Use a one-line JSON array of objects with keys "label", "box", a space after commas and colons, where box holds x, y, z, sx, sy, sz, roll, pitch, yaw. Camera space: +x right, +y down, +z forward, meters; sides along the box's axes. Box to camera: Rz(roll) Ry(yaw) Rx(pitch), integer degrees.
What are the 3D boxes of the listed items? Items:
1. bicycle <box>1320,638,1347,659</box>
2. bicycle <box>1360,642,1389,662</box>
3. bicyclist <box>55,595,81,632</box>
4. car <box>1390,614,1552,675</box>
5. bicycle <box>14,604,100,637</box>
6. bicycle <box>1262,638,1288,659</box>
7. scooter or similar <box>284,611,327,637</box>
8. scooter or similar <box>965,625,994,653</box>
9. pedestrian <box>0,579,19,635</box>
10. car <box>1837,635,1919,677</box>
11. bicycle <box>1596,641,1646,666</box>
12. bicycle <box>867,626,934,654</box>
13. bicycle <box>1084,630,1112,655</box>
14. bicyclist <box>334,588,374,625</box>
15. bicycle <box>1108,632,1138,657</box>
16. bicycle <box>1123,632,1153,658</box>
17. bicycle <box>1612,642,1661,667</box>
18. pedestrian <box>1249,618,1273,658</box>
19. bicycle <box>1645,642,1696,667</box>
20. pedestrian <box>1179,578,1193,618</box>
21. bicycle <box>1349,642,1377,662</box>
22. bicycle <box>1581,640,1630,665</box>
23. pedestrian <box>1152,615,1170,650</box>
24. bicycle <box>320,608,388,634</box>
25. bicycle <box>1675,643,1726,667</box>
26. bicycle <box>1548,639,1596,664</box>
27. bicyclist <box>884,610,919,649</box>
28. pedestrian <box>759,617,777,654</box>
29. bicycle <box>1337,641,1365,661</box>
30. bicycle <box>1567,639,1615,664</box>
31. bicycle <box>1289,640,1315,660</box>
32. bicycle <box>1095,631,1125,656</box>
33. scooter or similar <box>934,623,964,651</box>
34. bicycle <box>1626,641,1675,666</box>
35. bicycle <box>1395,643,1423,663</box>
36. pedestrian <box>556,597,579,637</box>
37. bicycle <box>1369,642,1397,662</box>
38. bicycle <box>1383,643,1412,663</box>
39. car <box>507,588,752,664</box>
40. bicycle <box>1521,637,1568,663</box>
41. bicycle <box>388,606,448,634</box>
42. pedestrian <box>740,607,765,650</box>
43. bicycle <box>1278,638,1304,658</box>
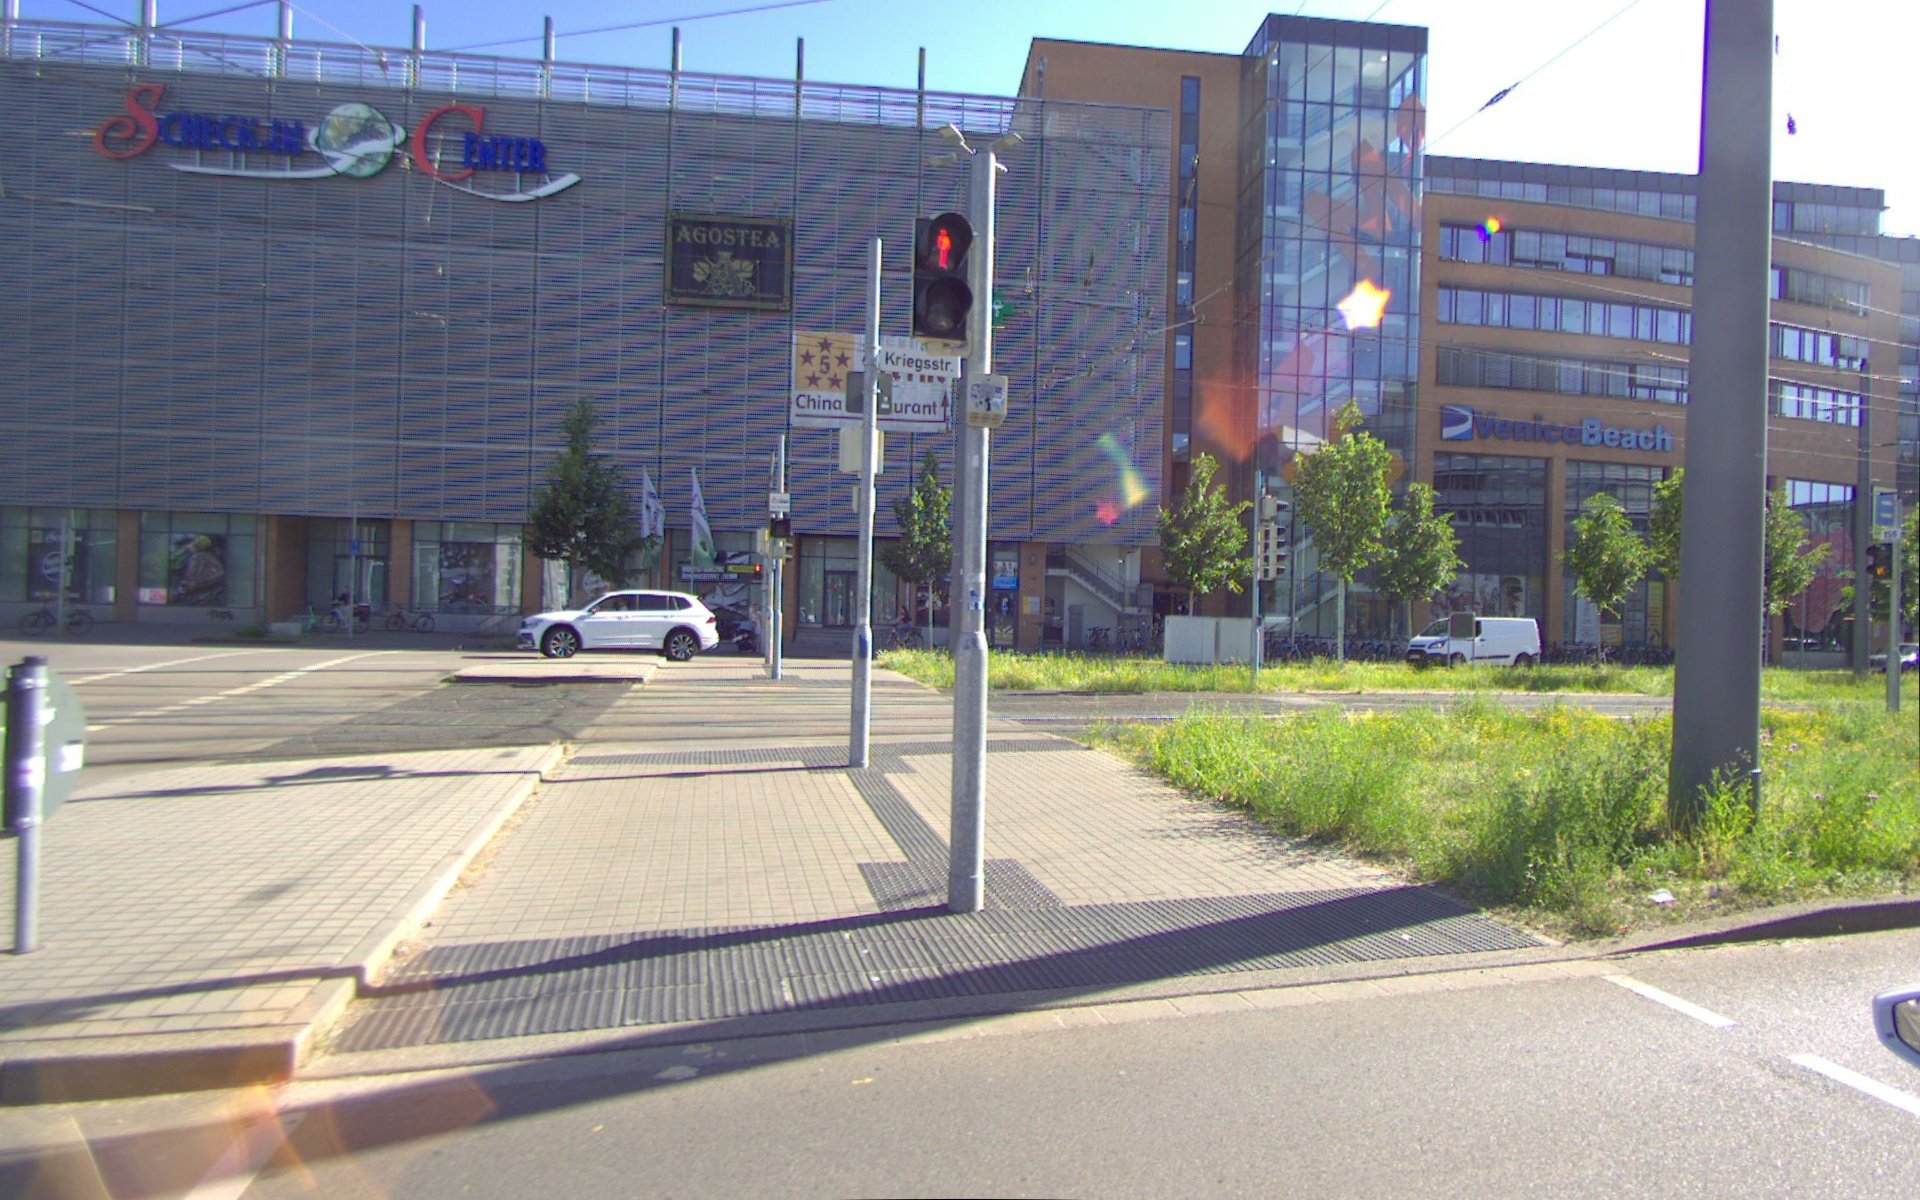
[{"label": "bicycle", "box": [16.940, 2.197, 45.597, 0.438, 0.830, 1.447, 2, 0, -12]}, {"label": "bicycle", "box": [19.073, 2.399, 46.245, 0.438, 0.830, 1.447, 2, 0, -12]}, {"label": "bicyclist", "box": [-28.810, 0.434, 32.447, 0.559, 1.154, 0.553, 2, -1, -40]}, {"label": "car", "box": [18.670, 1.630, 36.770, 5.170, 2.040, 2.220, 2, -1, -16]}, {"label": "bicycle", "box": [-29.045, 0.665, 32.358, 2.005, 0.998, 0.553, 3, -1, -40]}, {"label": "bicycle", "box": [14.295, 2.189, 45.583, 0.438, 0.830, 1.447, 2, 0, -12]}, {"label": "scooter or similar", "box": [-22.614, 0.826, 34.706, 1.205, 0.862, 0.301, 2, -1, -10]}, {"label": "scooter or similar", "box": [0.835, 1.660, 43.061, 1.183, 1.117, 0.277, 3, -1, -5]}, {"label": "pedestrian", "box": [-30.975, 0.227, 32.477, 0.617, 1.774, 0.585, 2, -1, -25]}, {"label": "car", "box": [41.418, 2.471, 44.336, 4.465, 1.703, 1.993, 2, -1, -17]}, {"label": "bicycle", "box": [33.683, 2.702, 51.221, 0.740, 1.138, 2.175, 2, 0, -12]}, {"label": "bicycle", "box": [-2.307, 1.540, 38.829, 2.520, 1.024, 0.597, 2, -1, -6]}, {"label": "bicycle", "box": [5.883, 1.794, 42.952, 0.484, 0.967, 2.175, 2, 0, -12]}, {"label": "bicyclist", "box": [-22.381, 0.247, 37.098, 1.020, 1.335, 0.681, 2, -1, -8]}, {"label": "bicycle", "box": [7.008, 1.910, 43.320, 0.484, 0.967, 2.175, 2, 0, -12]}, {"label": "bicycle", "box": [7.669, 1.923, 43.333, 0.484, 0.967, 2.175, 2, 0, -12]}, {"label": "bicycle", "box": [35.028, 2.802, 52.059, 0.740, 1.138, 2.175, 2, 0, -12]}, {"label": "pedestrian", "box": [12.922, 1.637, 43.168, 0.767, 1.707, 0.594, 2, -1, -20]}, {"label": "bicycle", "box": [36.833, 2.812, 52.106, 0.740, 1.138, 2.175, 2, 0, -12]}, {"label": "pedestrian", "box": [11.343, -0.098, 50.330, 0.530, 1.940, 0.374, 3, -1, 1]}, {"label": "bicycle", "box": [18.426, 2.368, 45.953, 0.438, 0.830, 1.447, 2, 0, -12]}, {"label": "bicycle", "box": [32.842, 2.648, 51.122, 0.740, 1.138, 2.175, 2, 0, -12]}, {"label": "pedestrian", "box": [9.161, 1.463, 45.861, 0.648, 1.574, 0.637, 2, -1, -1]}, {"label": "bicycle", "box": [-22.368, 0.776, 37.117, 2.010, 0.879, 0.681, 2, -1, -8]}, {"label": "bicycle", "box": [38.596, 2.861, 52.411, 0.740, 1.138, 2.175, 2, 0, -12]}, {"label": "bicycle", "box": [31.055, 2.589, 51.013, 0.740, 1.138, 2.175, 2, 0, -12]}, {"label": "bicyclist", "box": [-2.265, 1.136, 38.800, 1.288, 1.426, 0.593, 2, -1, -6]}, {"label": "pedestrian", "box": [-6.644, 1.222, 34.728, 0.440, 1.245, 0.397, 2, -1, 18]}, {"label": "bicycle", "box": [17.831, 2.331, 45.814, 0.438, 0.830, 1.447, 2, 0, -12]}, {"label": "bicycle", "box": [32.026, 2.599, 51.000, 0.740, 1.138, 2.175, 2, 0, -12]}, {"label": "bicycle", "box": [15.628, 2.266, 45.920, 0.438, 0.830, 1.447, 2, 0, -12]}, {"label": "bicycle", "box": [6.424, 1.851, 43.088, 0.484, 0.967, 2.175, 2, 0, -12]}, {"label": "scooter or similar", "box": [-0.469, 1.575, 42.698, 1.183, 1.117, 0.277, 3, -1, -5]}, {"label": "bicycle", "box": [35.831, 2.753, 52.160, 0.740, 1.138, 2.175, 2, 0, -12]}, {"label": "bicycle", "box": [21.084, 2.474, 47.200, 0.438, 0.830, 1.447, 2, 0, -12]}, {"label": "pedestrian", "box": [-15.156, 0.655, 38.778, 0.637, 1.539, 0.491, 2, -1, -2]}, {"label": "bicycle", "box": [19.531, 2.404, 46.422, 0.438, 0.830, 1.447, 2, 0, -12]}, {"label": "bicycle", "box": [20.335, 2.438, 46.729, 0.438, 0.830, 1.447, 2, 0, -12]}, {"label": "car", "box": [-8.037, 0.674, 24.600, 5.476, 1.674, 1.801, 2, -1, -27]}, {"label": "bicycle", "box": [29.552, 2.518, 50.805, 0.740, 1.138, 2.175, 2, 0, -12]}, {"label": "bicycle", "box": [-21.079, 0.777, 39.105, 1.917, 1.052, 0.572, 2, -1, -11]}, {"label": "pedestrian", "box": [-7.372, 1.008, 35.651, 0.726, 1.506, 0.490, 2, -1, 3]}, {"label": "bicycle", "box": [15.047, 2.166, 45.722, 0.438, 0.830, 1.447, 2, 0, -12]}]
